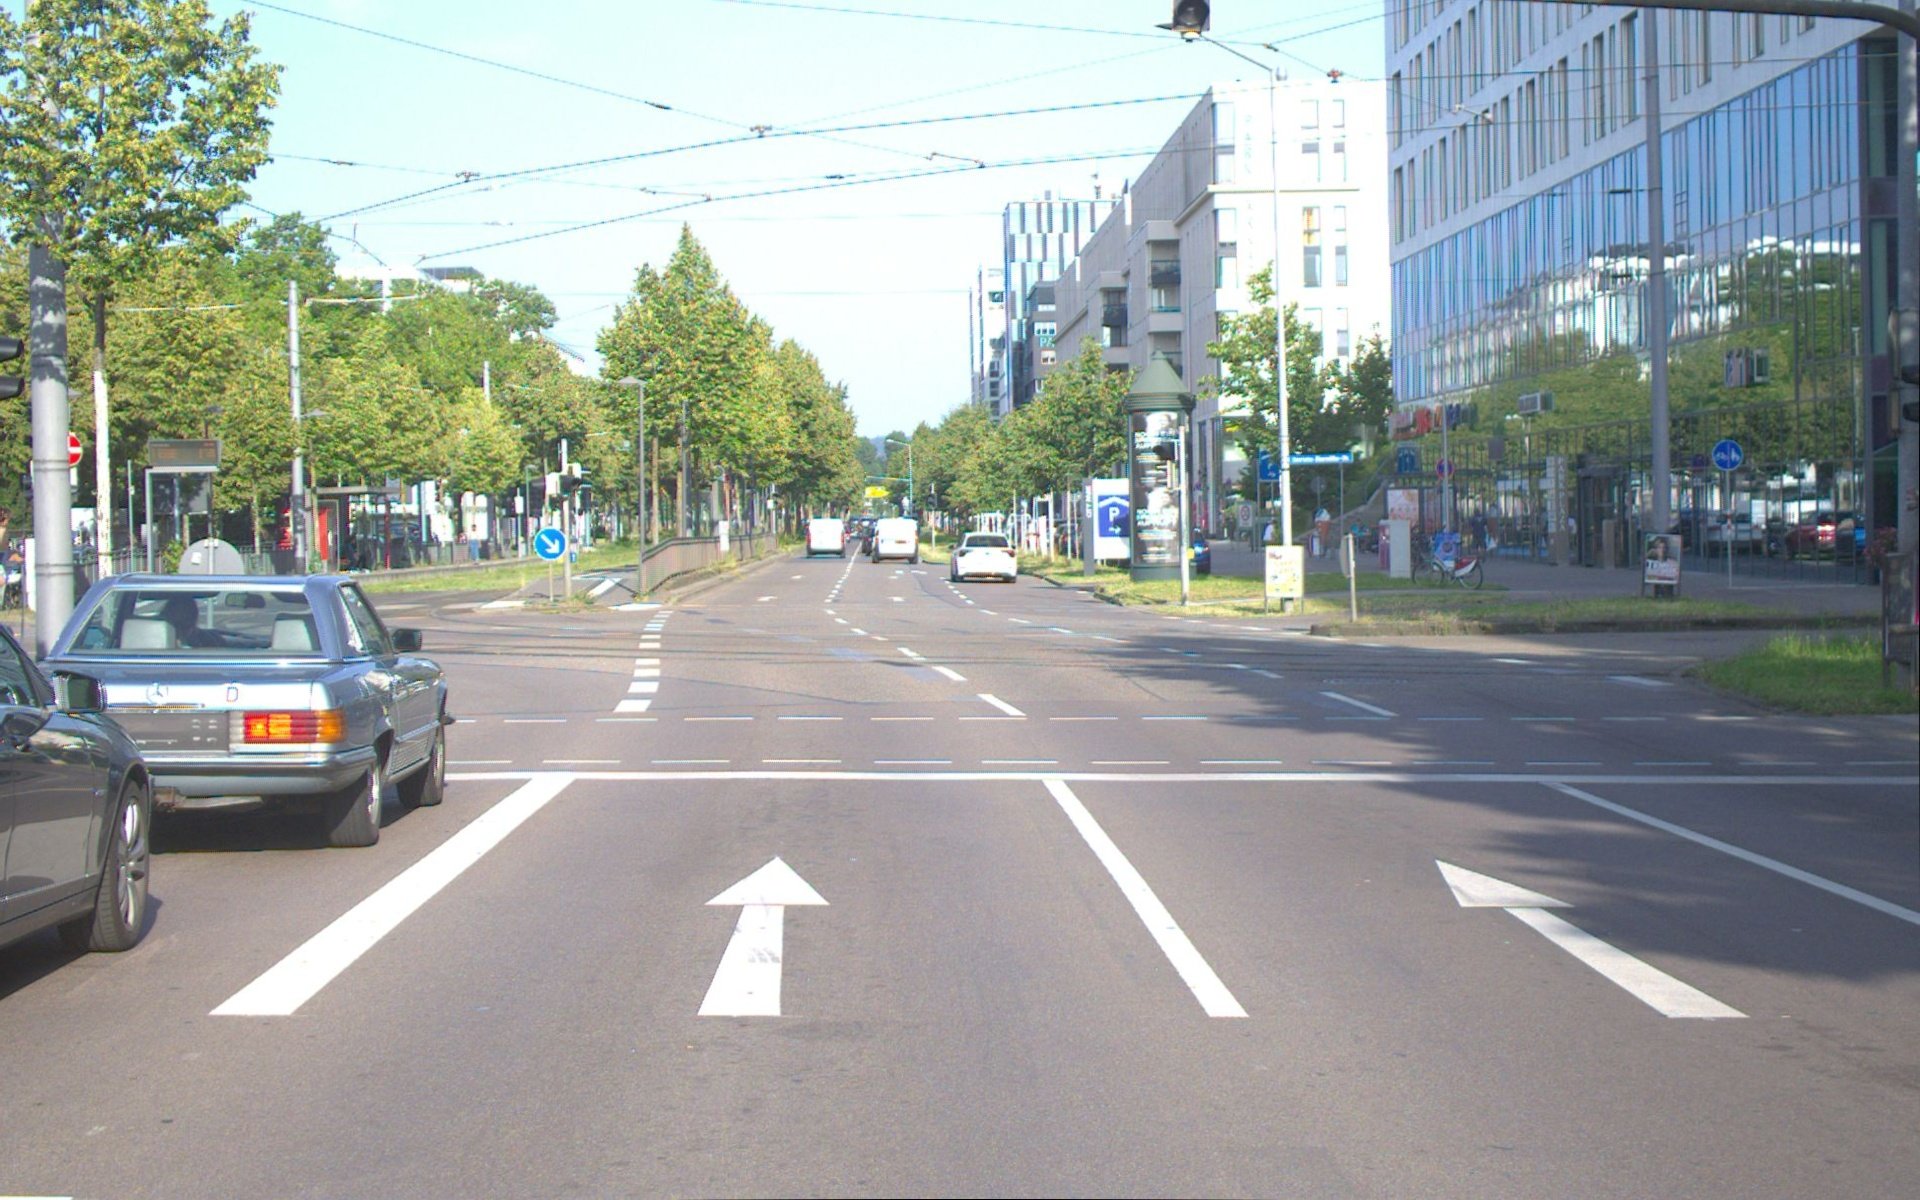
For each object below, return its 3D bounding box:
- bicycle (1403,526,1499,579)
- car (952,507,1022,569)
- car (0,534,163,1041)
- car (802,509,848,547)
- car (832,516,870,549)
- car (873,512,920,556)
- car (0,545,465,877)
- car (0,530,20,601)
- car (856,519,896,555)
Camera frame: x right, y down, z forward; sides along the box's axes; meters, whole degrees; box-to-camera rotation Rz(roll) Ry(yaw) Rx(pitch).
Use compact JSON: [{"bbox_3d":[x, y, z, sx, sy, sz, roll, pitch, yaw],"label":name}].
[{"bbox_3d":[10.200,-0.996,71.448,0.771,1.028,1.877,-2,4,-45],"label":"bicycle"},{"bbox_3d":[0.742,-1.779,97.535,1.864,1.678,4.001,1,2,-1],"label":"car"},{"bbox_3d":[-3.750,0.564,10.320,1.786,1.473,4.354,1,2,-1],"label":"car"},{"bbox_3d":[-6.249,-3.358,159.565,2.014,1.678,4.001,1,2,-1],"label":"car"},{"bbox_3d":[-5.792,-3.570,182.218,1.924,1.678,4.001,1,2,-2],"label":"car"},{"bbox_3d":[-2.583,-2.705,140.171,1.864,1.678,4.001,1,2,-1],"label":"car"},{"bbox_3d":[-3.564,0.444,16.952,1.763,1.325,4.401,1,2,-2],"label":"car"},{"bbox_3d":[-21.185,-0.684,71.843,1.993,1.499,4.093,-2,1,-1],"label":"car"},{"bbox_3d":[-4.098,-3.106,168.237,1.924,1.678,4.001,1,2,-1],"label":"car"}]
